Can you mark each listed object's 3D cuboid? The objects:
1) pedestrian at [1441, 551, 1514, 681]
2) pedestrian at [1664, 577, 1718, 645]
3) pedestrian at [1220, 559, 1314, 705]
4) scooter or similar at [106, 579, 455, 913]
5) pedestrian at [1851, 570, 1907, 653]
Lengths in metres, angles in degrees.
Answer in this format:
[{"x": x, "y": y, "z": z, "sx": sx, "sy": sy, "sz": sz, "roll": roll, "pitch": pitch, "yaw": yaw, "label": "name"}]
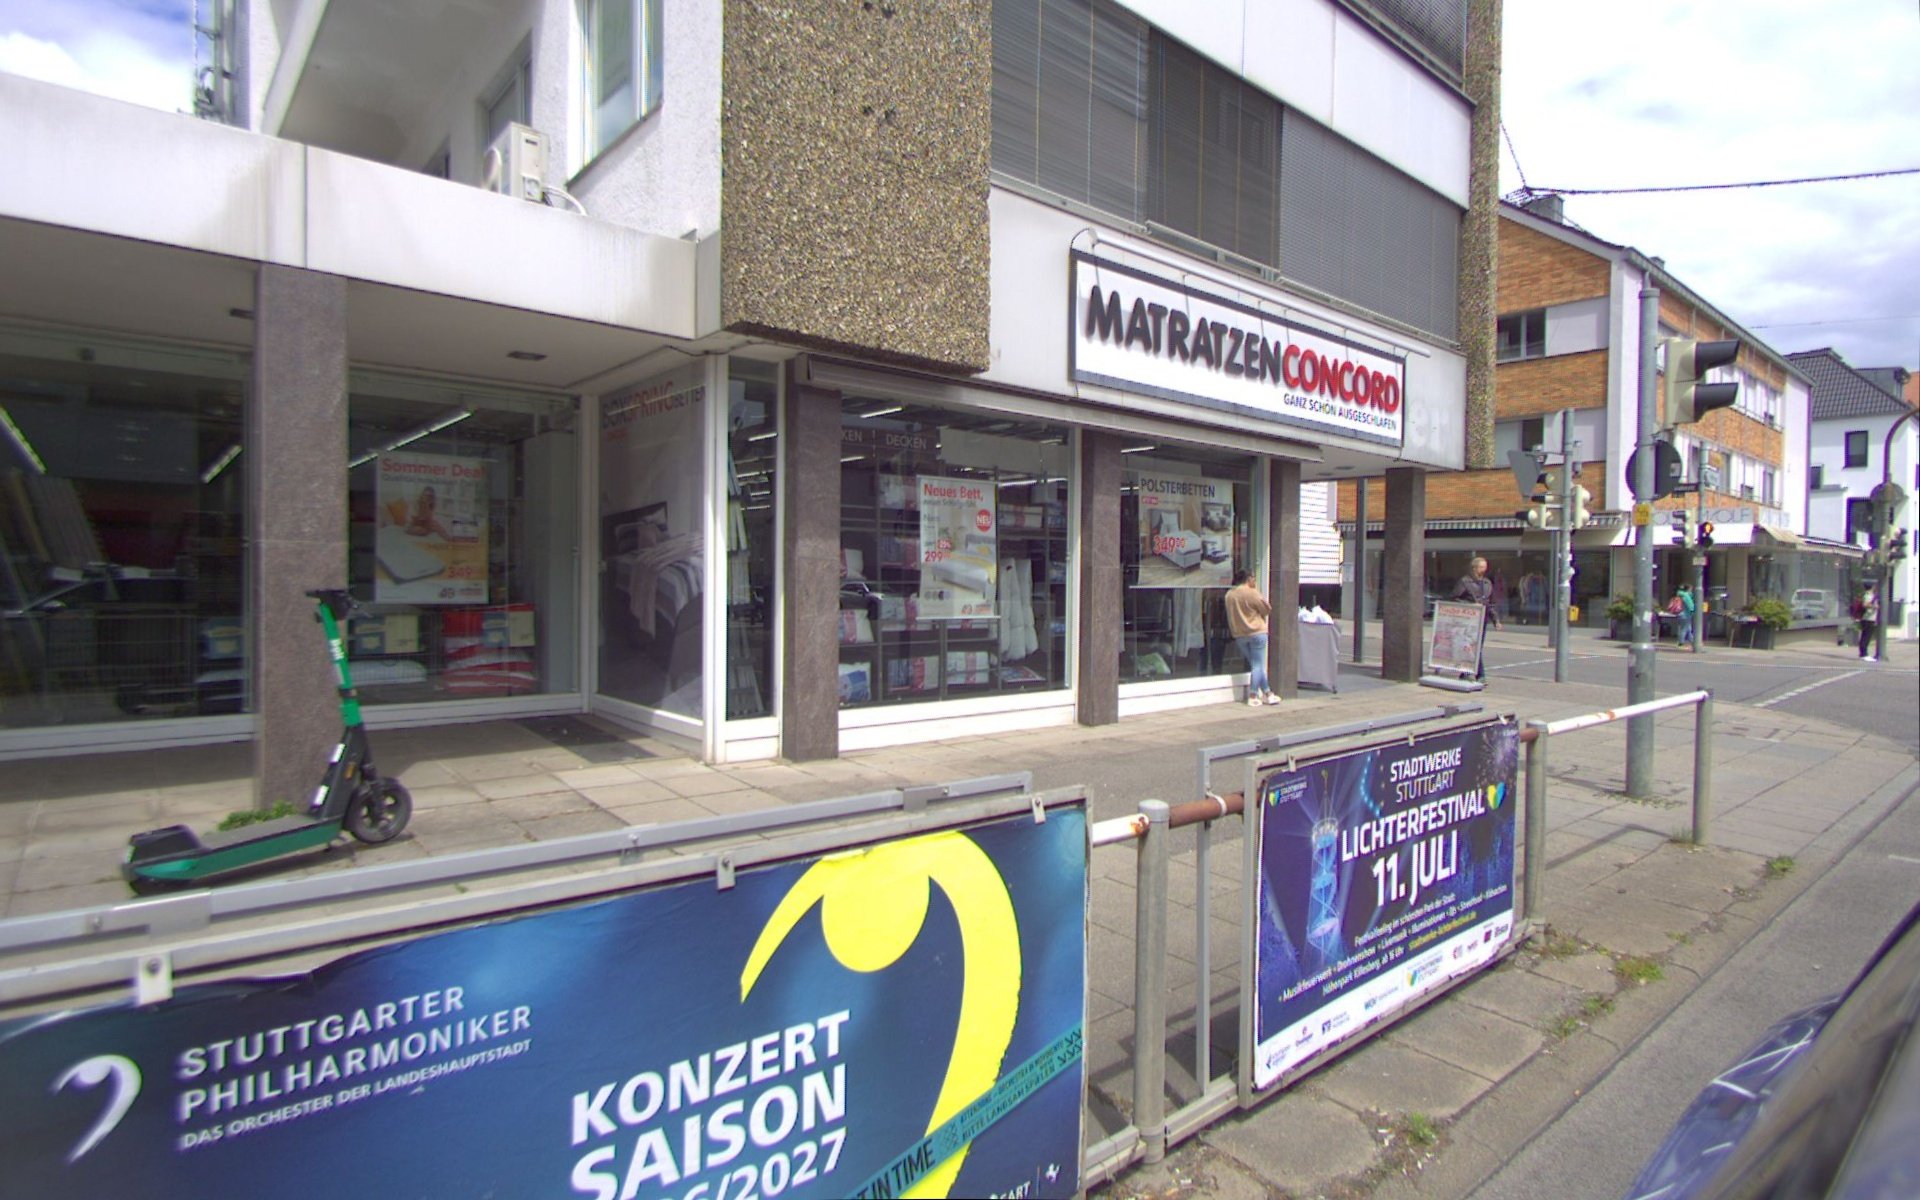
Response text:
[{"x": 7.026, "y": 0.194, "z": 13.771, "sx": 0.789, "sy": 1.691, "sz": 0.800, "roll": 2, "pitch": 2, "yaw": 25, "label": "pedestrian"}, {"x": 17.341, "y": 0.244, "z": 24.019, "sx": 0.809, "sy": 1.544, "sz": 0.774, "roll": 2, "pitch": 1, "yaw": 21, "label": "pedestrian"}, {"x": 3.345, "y": 0.322, "z": 11.036, "sx": 0.707, "sy": 1.517, "sz": 0.681, "roll": 0, "pitch": 1, "yaw": -40, "label": "pedestrian"}, {"x": -3.047, "y": 0.555, "z": 4.604, "sx": 0.686, "sy": 1.283, "sz": 1.169, "roll": 2, "pitch": 2, "yaw": 37, "label": "scooter or similar"}, {"x": 20.905, "y": 0.253, "z": 23.024, "sx": 0.862, "sy": 1.853, "sz": 0.583, "roll": 1, "pitch": 2, "yaw": -24, "label": "pedestrian"}]
